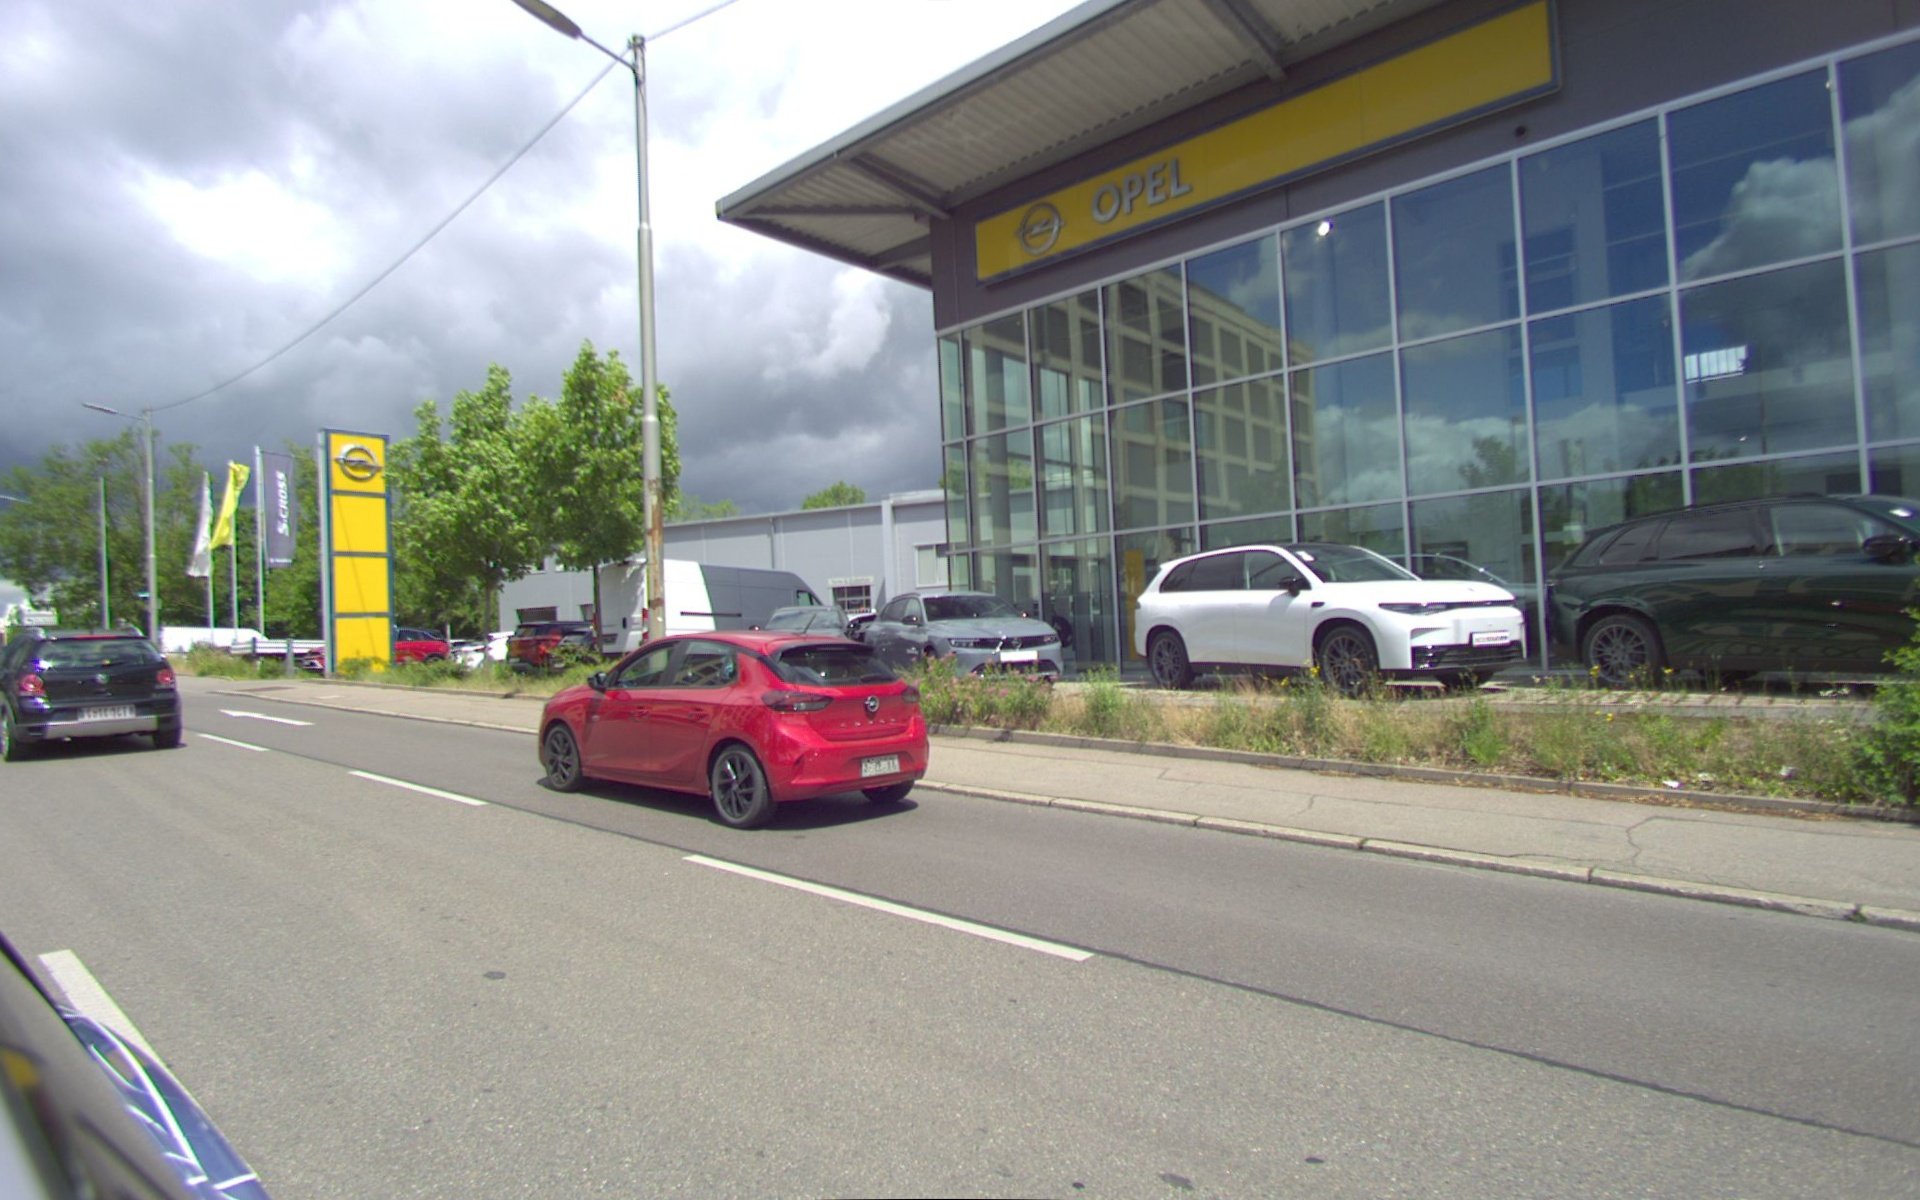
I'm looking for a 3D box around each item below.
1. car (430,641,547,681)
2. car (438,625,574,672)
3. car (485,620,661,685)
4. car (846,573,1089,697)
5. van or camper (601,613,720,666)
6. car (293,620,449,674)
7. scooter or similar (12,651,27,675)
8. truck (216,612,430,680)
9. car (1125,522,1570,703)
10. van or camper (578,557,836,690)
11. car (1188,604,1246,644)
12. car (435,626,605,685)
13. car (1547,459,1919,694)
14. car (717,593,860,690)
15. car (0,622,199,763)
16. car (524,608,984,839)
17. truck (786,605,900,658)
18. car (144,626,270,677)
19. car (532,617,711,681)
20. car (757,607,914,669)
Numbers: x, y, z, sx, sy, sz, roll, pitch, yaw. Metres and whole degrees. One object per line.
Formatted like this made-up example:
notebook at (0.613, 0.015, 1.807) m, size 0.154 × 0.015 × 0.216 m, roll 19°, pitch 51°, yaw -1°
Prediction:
car at (-18.229, 2.334, 39.230) m, size 1.645 × 1.338 × 3.783 m, roll -2°, pitch -1°, yaw 41°
car at (-16.073, 1.740, 35.982) m, size 1.825 × 1.534 × 4.037 m, roll -5°, pitch -5°, yaw 40°
car at (-10.370, 1.382, 27.295) m, size 2.000 × 1.503 × 3.943 m, roll -5°, pitch -3°, yaw 43°
car at (-0.120, 0.542, 14.957) m, size 1.868 × 1.462 × 4.847 m, roll -2°, pitch -2°, yaw -21°
van or camper at (-14.765, 1.921, 50.322) m, size 2.486 × 2.373 × 5.857 m, roll -4°, pitch -2°, yaw 22°
car at (-18.778, 1.552, 32.401) m, size 1.753 × 1.601 × 3.944 m, roll -5°, pitch -6°, yaw 41°
scooter or similar at (-52.355, 3.524, 56.334) m, size 0.528 × 1.275 × 1.473 m, roll -3°, pitch -1°, yaw -43°
truck at (-21.869, 1.511, 35.028) m, size 2.473 × 2.164 × 5.805 m, roll -2°, pitch -2°, yaw 38°
car at (3.988, 0.142, 11.363) m, size 1.903 × 1.584 × 4.568 m, roll -1°, pitch -1°, yaw -26°
van or camper at (-5.376, 0.497, 22.070) m, size 2.316 × 2.550 × 4.976 m, roll -5°, pitch -3°, yaw 40°
car at (10.121, 0.923, 39.679) m, size 1.652 × 1.409 × 3.452 m, roll -4°, pitch -2°, yaw 23°
car at (-12.350, 1.502, 28.579) m, size 1.998 × 1.420 × 3.947 m, roll -2°, pitch -1°, yaw 39°
car at (7.659, -0.172, 8.345) m, size 1.965 × 1.711 × 4.499 m, roll -2°, pitch -2°, yaw -23°
car at (-2.967, 0.719, 18.460) m, size 1.915 × 1.520 × 4.477 m, roll -1°, pitch -1°, yaw -1°
car at (-11.540, 1.087, 13.073) m, size 4.273 × 1.520 × 1.811 m, roll -2°, pitch -2°, yaw 40°
car at (-1.859, 0.901, 8.582) m, size 3.846 × 1.503 × 1.852 m, roll -2°, pitch -4°, yaw 41°
truck at (-5.222, 1.433, 46.487) m, size 2.682 × 2.246 × 6.270 m, roll -1°, pitch -1°, yaw 20°
car at (-33.612, 2.274, 45.254) m, size 2.196 × 2.029 × 4.120 m, roll -5°, pitch -3°, yaw 39°
car at (-8.627, 1.215, 26.020) m, size 1.927 × 1.420 × 3.946 m, roll -2°, pitch -1°, yaw 40°
car at (-3.435, 1.019, 28.556) m, size 1.927 × 1.547 × 4.185 m, roll -2°, pitch -1°, yaw 40°
